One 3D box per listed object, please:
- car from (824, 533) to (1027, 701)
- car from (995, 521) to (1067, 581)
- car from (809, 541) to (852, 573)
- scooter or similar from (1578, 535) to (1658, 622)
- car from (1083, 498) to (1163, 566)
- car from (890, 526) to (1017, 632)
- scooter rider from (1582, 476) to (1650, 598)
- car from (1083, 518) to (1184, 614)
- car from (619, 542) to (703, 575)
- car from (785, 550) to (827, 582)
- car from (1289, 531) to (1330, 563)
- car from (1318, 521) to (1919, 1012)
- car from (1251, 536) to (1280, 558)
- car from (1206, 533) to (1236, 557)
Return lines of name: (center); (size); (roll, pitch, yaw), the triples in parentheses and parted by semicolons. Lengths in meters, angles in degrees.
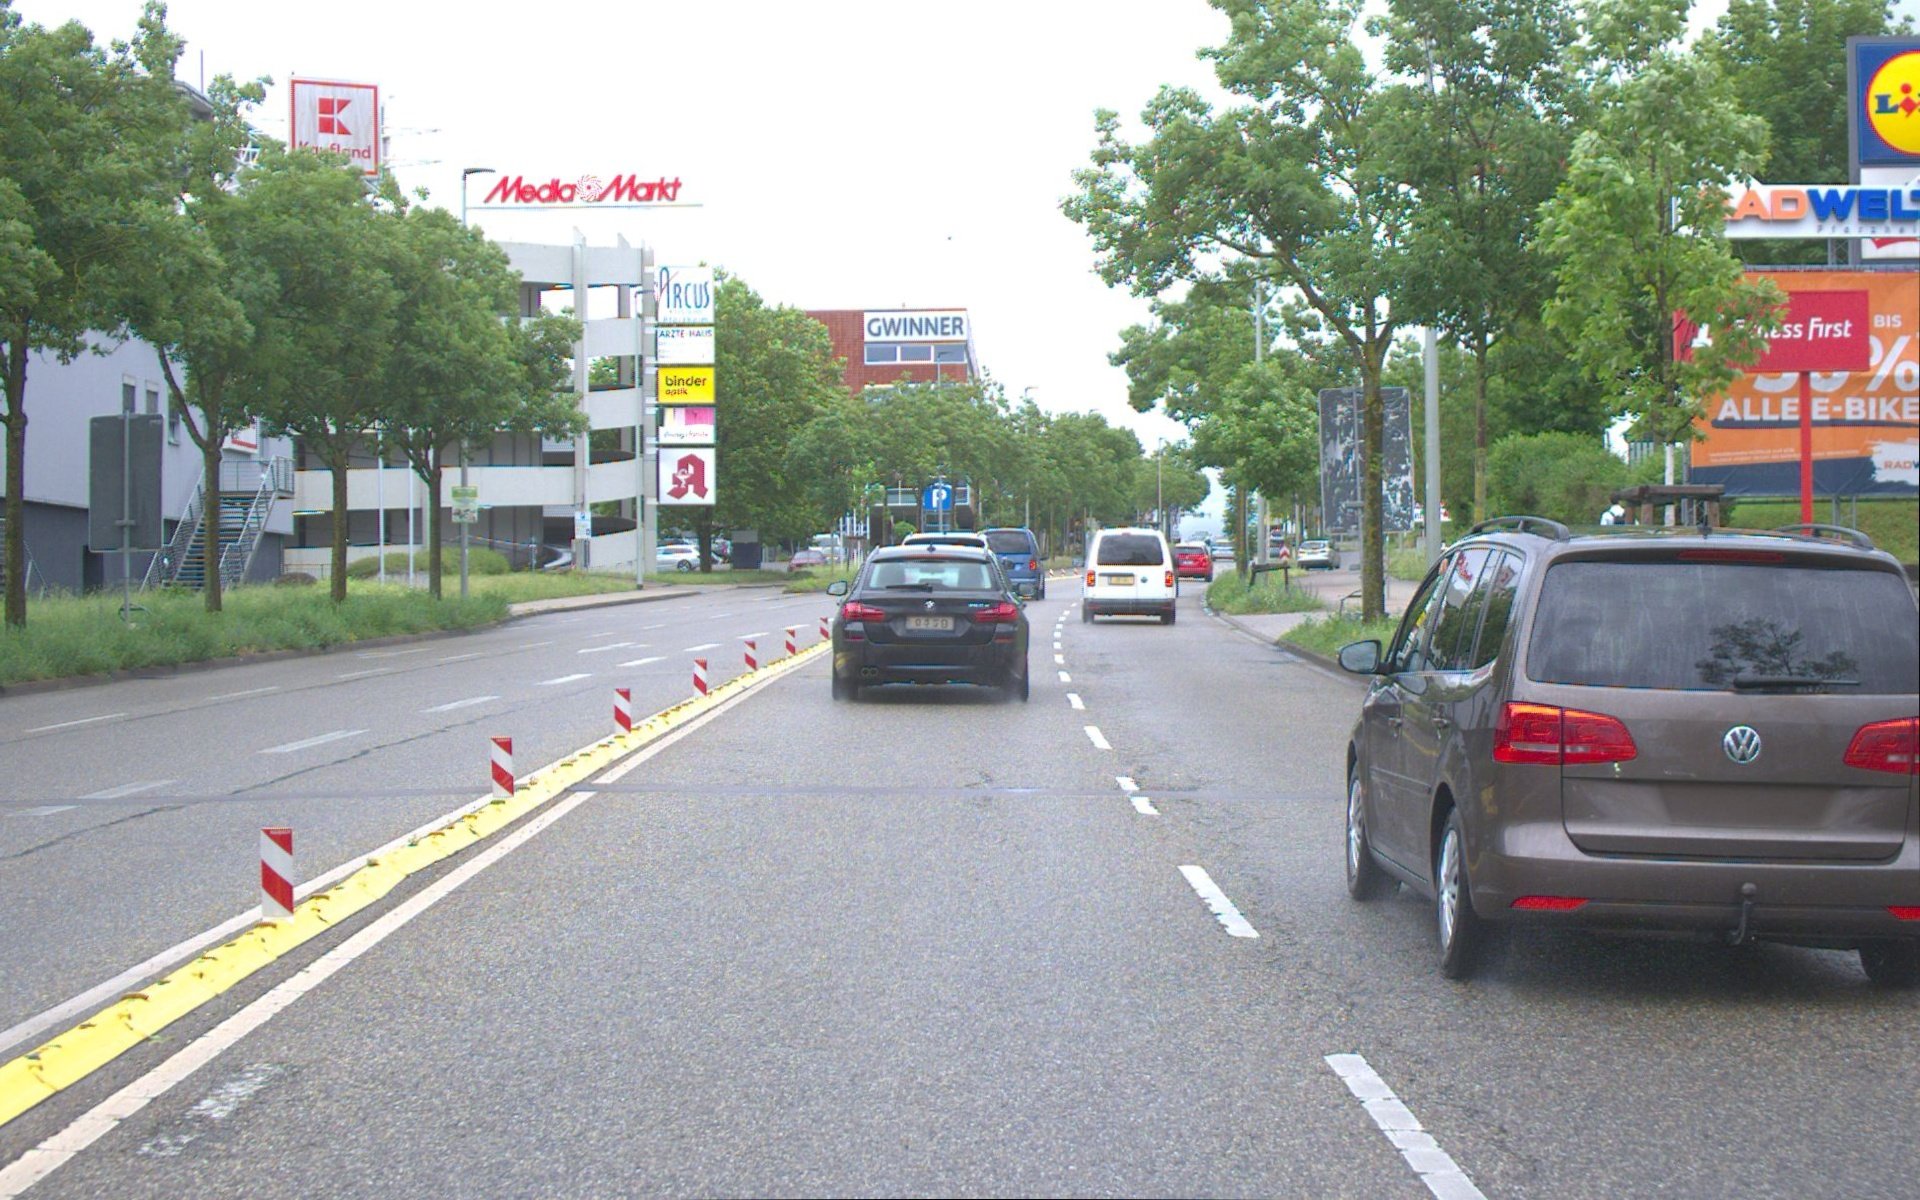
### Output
car: (-0.301, 0.113, 33.129); (1.827, 1.463, 4.000); (1, 2, 0)
car: (1.890, -1.276, 89.967); (1.794, 1.505, 4.000); (2, 1, 2)
car: (-7.641, -2.545, 203.233); (2.039, 1.756, 4.945); (1, 2, 4)
scooter or similar: (9.957, -0.330, 52.072); (0.694, 1.259, 1.401); (-3, 2, -10)
car: (3.832, -1.584, 81.224); (1.794, 1.505, 4.000); (2, 1, 2)
car: (-0.067, -0.327, 52.091); (1.794, 1.505, 4.000); (2, 1, 1)
scooter rider: (9.932, -0.957, 52.056); (0.694, 1.814, 0.858); (-3, 2, -10)
car: (3.307, -0.681, 65.859); (1.827, 1.753, 4.000); (1, 1, 3)
car: (-16.905, -2.350, 194.255); (4.598, 1.740, 1.967); (1, 2, -1)
car: (-8.457, -1.886, 188.831); (1.933, 1.603, 4.711); (1, 2, 2)
car: (17.279, -2.603, 170.093); (1.794, 1.505, 4.000); (2, 1, 3)
car: (2.472, 0.506, 13.227); (1.685, 1.575, 4.219); (1, 1, -1)
car: (21.140, -3.654, 237.897); (1.794, 1.505, 4.000); (2, 1, 3)
car: (17.309, -3.653, 228.007); (1.794, 1.505, 4.000); (2, 1, 3)
